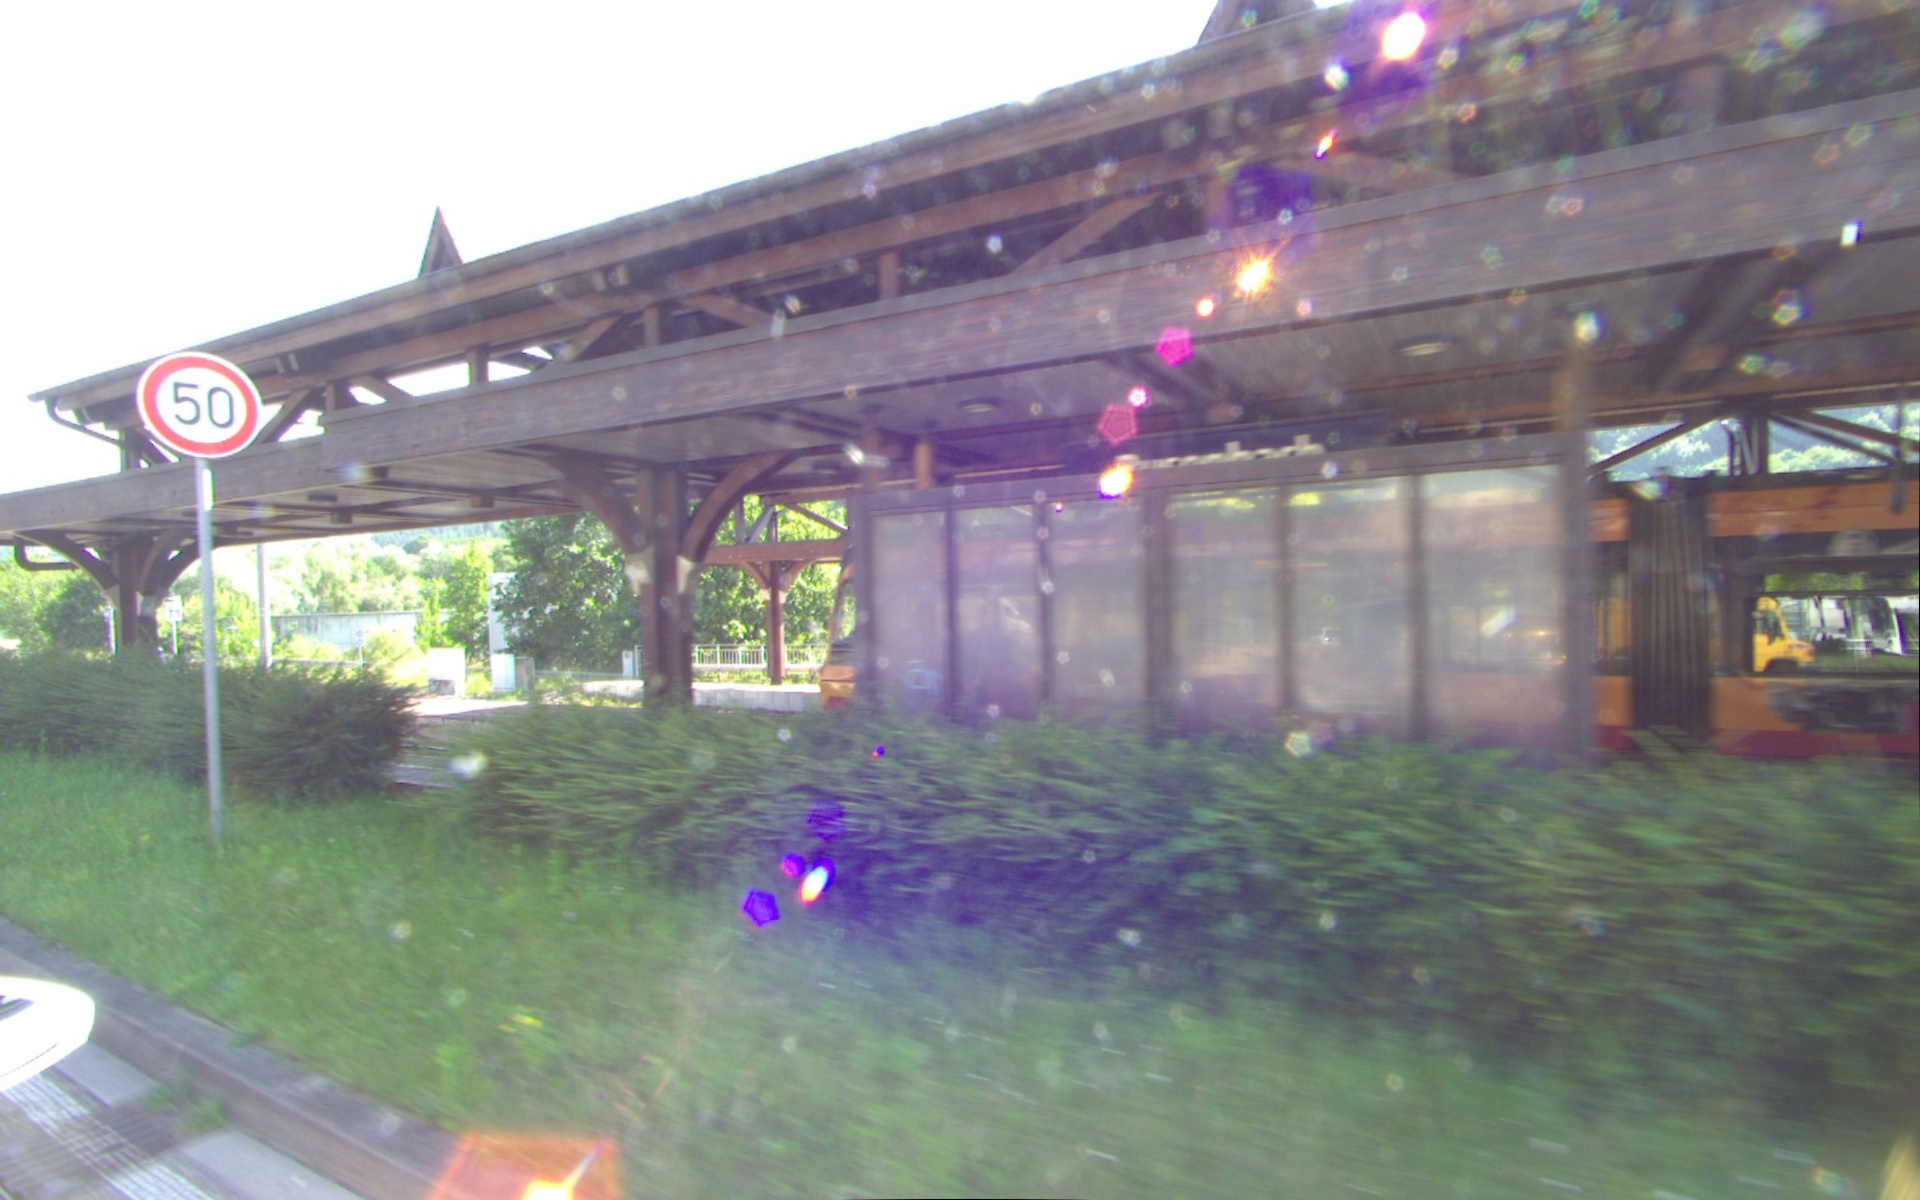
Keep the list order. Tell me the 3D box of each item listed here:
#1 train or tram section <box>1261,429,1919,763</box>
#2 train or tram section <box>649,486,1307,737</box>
[{"bbox_3d":[9.888,0.026,11.772,11.868,3.406,2.784,-1,-2,30],"label":"train or tram section"},{"bbox_3d":[-0.271,0.225,17.798,11.868,3.407,2.753,0,-2,31],"label":"train or tram section"}]
